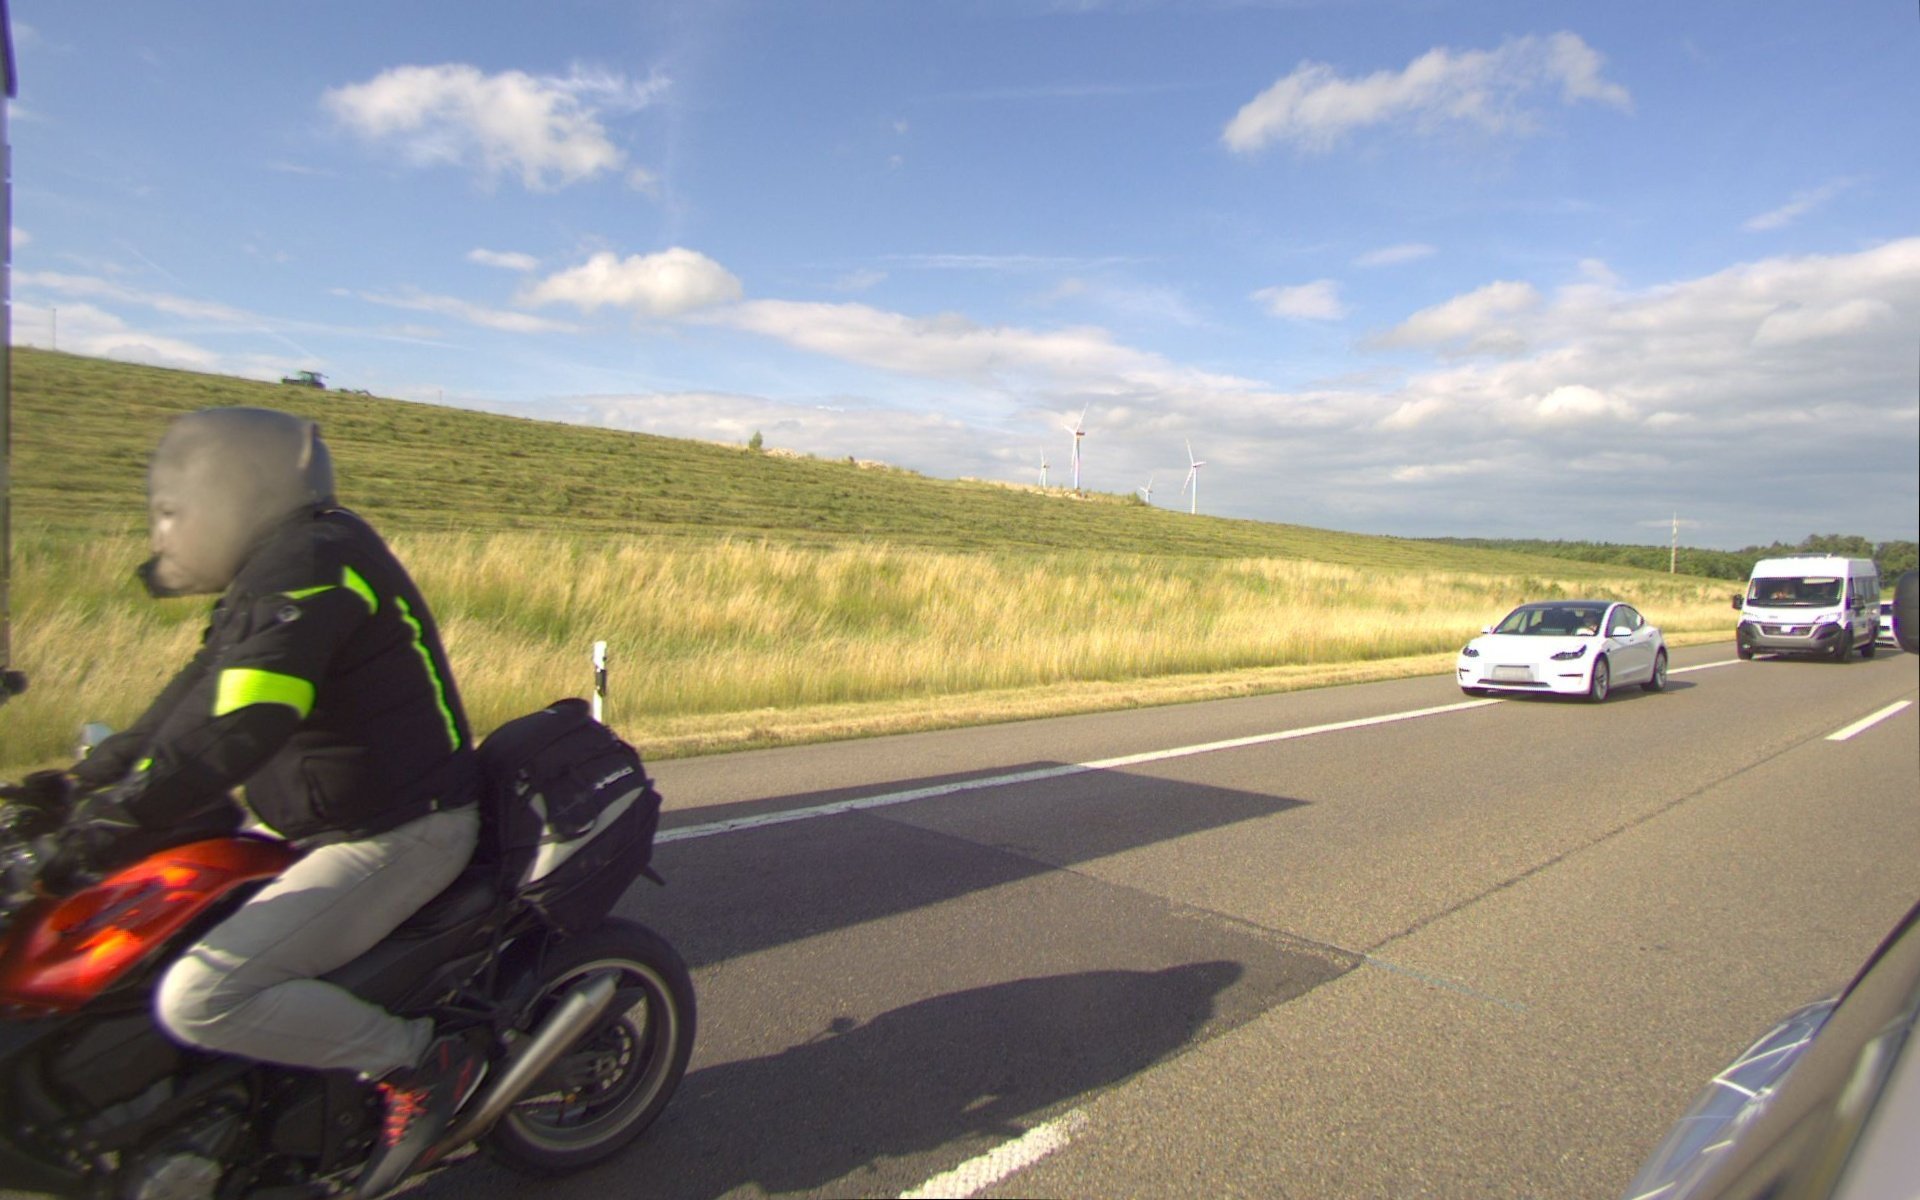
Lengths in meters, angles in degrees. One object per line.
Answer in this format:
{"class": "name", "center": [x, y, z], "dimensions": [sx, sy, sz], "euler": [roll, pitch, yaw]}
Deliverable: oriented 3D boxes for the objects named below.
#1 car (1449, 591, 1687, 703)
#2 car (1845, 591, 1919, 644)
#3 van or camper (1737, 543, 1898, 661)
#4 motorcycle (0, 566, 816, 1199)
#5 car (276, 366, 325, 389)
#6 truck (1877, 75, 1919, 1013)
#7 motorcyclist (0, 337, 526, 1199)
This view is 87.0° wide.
{"class": "car", "center": [9.425, 0.608, 15.547], "dimensions": [4.384, 1.435, 1.870], "euler": [-1, 1, -41]}
{"class": "car", "center": [28.969, 0.483, 31.479], "dimensions": [3.930, 1.512, 1.649], "euler": [-1, 1, -41]}
{"class": "van or camper", "center": [21.332, -0.009, 25.054], "dimensions": [6.301, 2.576, 2.100], "euler": [-1, 1, -41]}
{"class": "motorcycle", "center": [-1.477, 0.676, 2.058], "dimensions": [2.230, 1.474, 0.897], "euler": [-1, 1, -41]}
{"class": "car", "center": [-64.754, -21.832, 99.429], "dimensions": [3.927, 1.565, 1.708], "euler": [-1, 1, -38]}
{"class": "truck", "center": [8.109, -0.160, 6.244], "dimensions": [10.970, 3.199, 2.499], "euler": [0, 0, -42]}
{"class": "motorcyclist", "center": [-1.475, 0.370, 2.079], "dimensions": [0.848, 1.548, 0.897], "euler": [0, 1, -41]}
